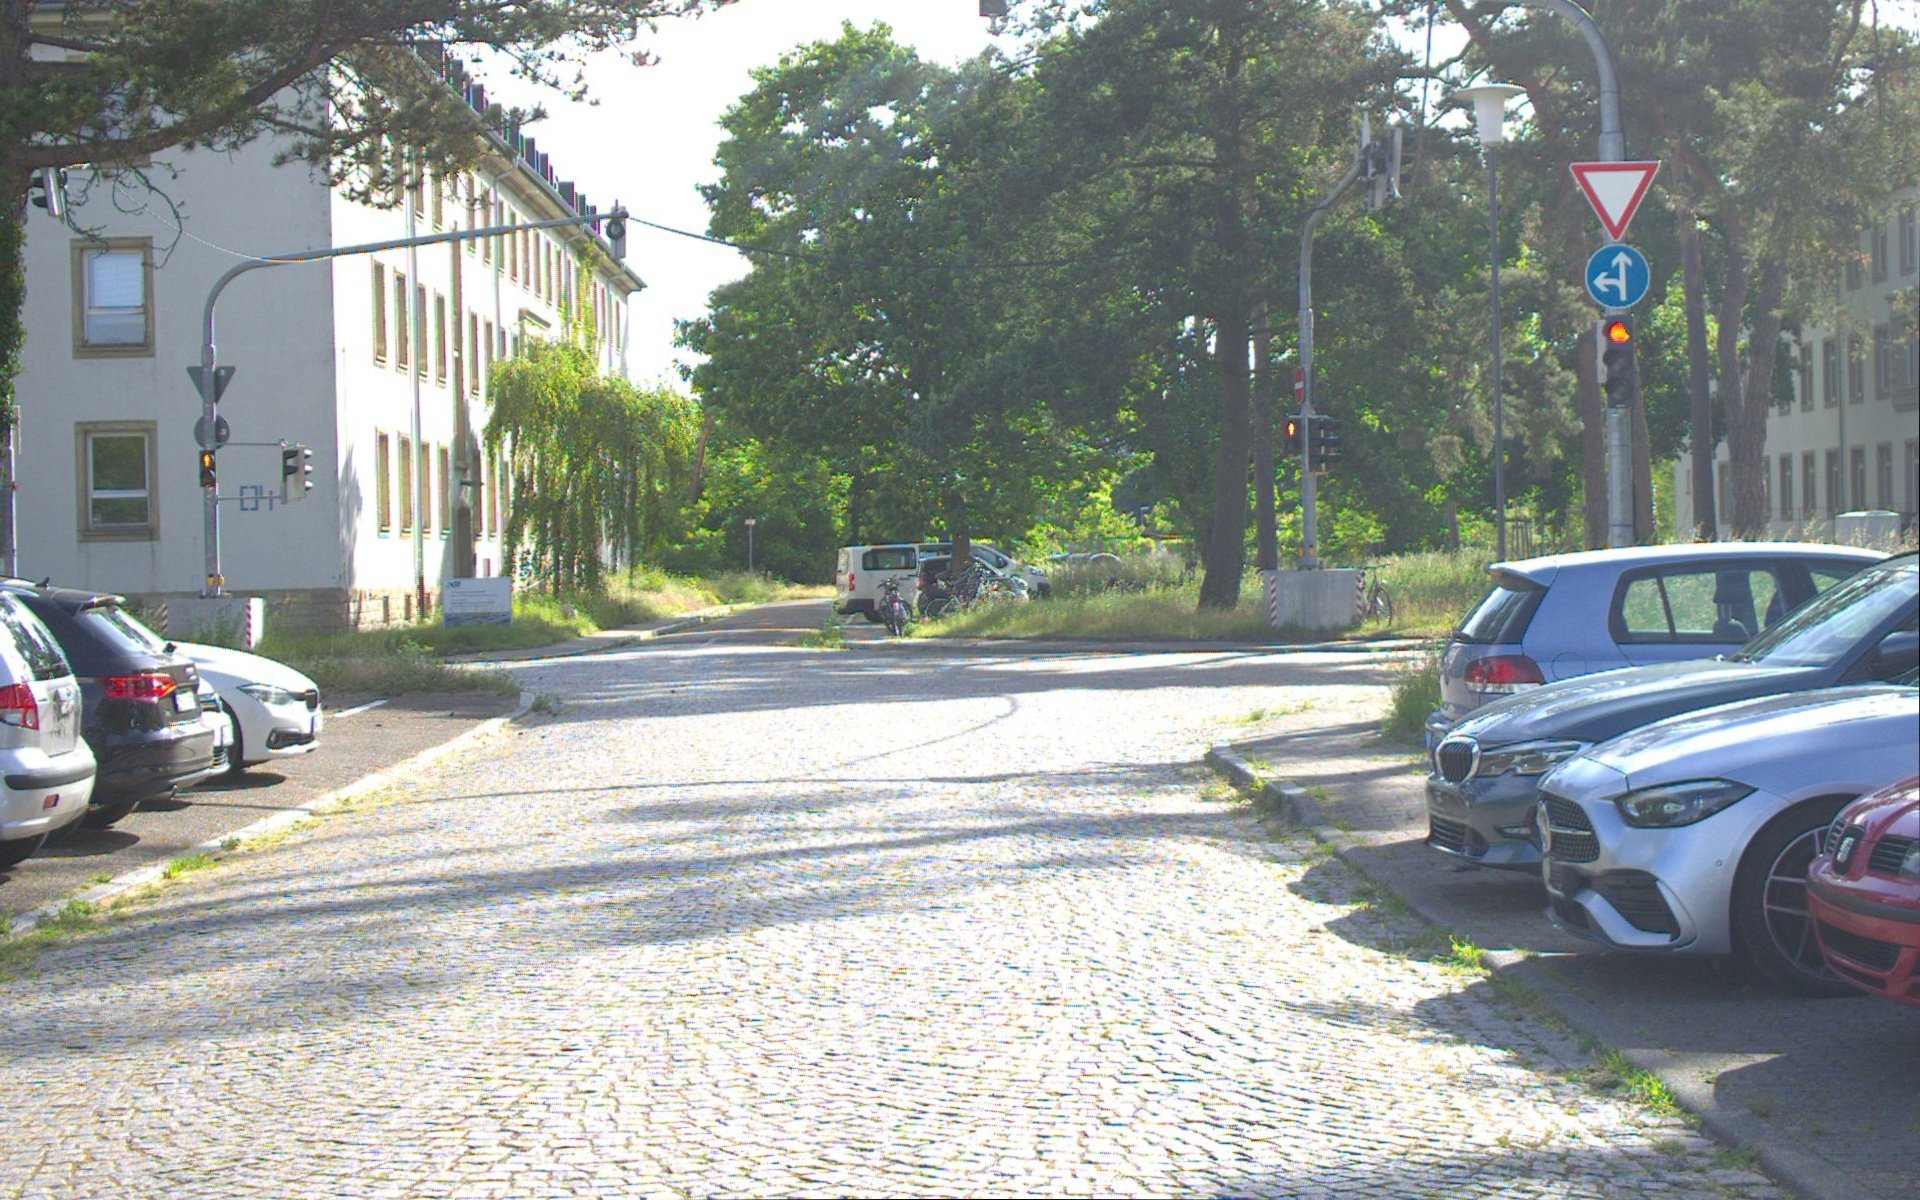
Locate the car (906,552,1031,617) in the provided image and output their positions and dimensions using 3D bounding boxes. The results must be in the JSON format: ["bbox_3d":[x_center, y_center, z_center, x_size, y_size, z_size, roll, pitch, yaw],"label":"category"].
[{"bbox_3d":[0.195,-0.364,80.916,2.781,1.462,1.671,1,0,-5],"label":"car"}]

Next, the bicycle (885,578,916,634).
[{"bbox_3d":[-1.097,0.111,62.863,0.467,1.007,1.586,1,0,-4],"label":"bicycle"}]

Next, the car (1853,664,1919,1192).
[{"bbox_3d":[4.079,0.709,7.608,3.707,1.219,1.746,-3,1,0],"label":"car"}]

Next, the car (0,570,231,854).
[{"bbox_3d":[-6.240,0.571,19.233,3.986,1.475,1.803,1,1,-3],"label":"car"}]

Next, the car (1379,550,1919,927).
[{"bbox_3d":[4.212,0.506,14.805,4.559,1.410,1.637,-3,1,0],"label":"car"}]

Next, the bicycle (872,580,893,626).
[{"bbox_3d":[-1.717,0.055,76.091,0.417,1.007,1.483,1,0,0],"label":"bicycle"}]

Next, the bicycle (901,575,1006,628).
[{"bbox_3d":[-0.131,0.023,68.155,2.004,1.007,0.632,1,0,-8],"label":"bicycle"}]

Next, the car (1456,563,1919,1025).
[{"bbox_3d":[4.116,0.562,12.089,4.432,1.410,1.781,-3,1,0],"label":"car"}]

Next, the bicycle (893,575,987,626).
[{"bbox_3d":[-0.406,0.012,69.910,1.837,1.007,0.636,1,0,-8],"label":"bicycle"}]

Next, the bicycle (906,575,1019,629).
[{"bbox_3d":[0.050,0.032,66.506,2.108,1.007,0.621,1,0,-8],"label":"bicycle"}]

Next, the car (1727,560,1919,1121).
[{"bbox_3d":[4.485,0.548,9.904,4.127,1.444,1.637,-3,1,0],"label":"car"}]

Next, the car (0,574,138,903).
[{"bbox_3d":[-6.016,0.606,16.563,3.746,1.482,1.646,1,1,-3],"label":"car"}]

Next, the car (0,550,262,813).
[{"bbox_3d":[-6.711,0.475,22.191,4.079,1.588,1.886,1,1,-3],"label":"car"}]

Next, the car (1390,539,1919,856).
[{"bbox_3d":[4.272,0.438,17.584,3.882,1.410,1.637,-3,1,0],"label":"car"}]

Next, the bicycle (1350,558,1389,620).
[{"bbox_3d":[6.476,-0.174,54.363,0.300,0.957,1.586,1,0,-4],"label":"bicycle"}]

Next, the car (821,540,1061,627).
[{"bbox_3d":[-0.467,-0.395,84.496,5.520,2.007,2.001,1,0,-18],"label":"car"}]

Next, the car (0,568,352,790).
[{"bbox_3d":[-6.644,0.523,24.544,4.333,1.463,1.831,1,1,-3],"label":"car"}]
